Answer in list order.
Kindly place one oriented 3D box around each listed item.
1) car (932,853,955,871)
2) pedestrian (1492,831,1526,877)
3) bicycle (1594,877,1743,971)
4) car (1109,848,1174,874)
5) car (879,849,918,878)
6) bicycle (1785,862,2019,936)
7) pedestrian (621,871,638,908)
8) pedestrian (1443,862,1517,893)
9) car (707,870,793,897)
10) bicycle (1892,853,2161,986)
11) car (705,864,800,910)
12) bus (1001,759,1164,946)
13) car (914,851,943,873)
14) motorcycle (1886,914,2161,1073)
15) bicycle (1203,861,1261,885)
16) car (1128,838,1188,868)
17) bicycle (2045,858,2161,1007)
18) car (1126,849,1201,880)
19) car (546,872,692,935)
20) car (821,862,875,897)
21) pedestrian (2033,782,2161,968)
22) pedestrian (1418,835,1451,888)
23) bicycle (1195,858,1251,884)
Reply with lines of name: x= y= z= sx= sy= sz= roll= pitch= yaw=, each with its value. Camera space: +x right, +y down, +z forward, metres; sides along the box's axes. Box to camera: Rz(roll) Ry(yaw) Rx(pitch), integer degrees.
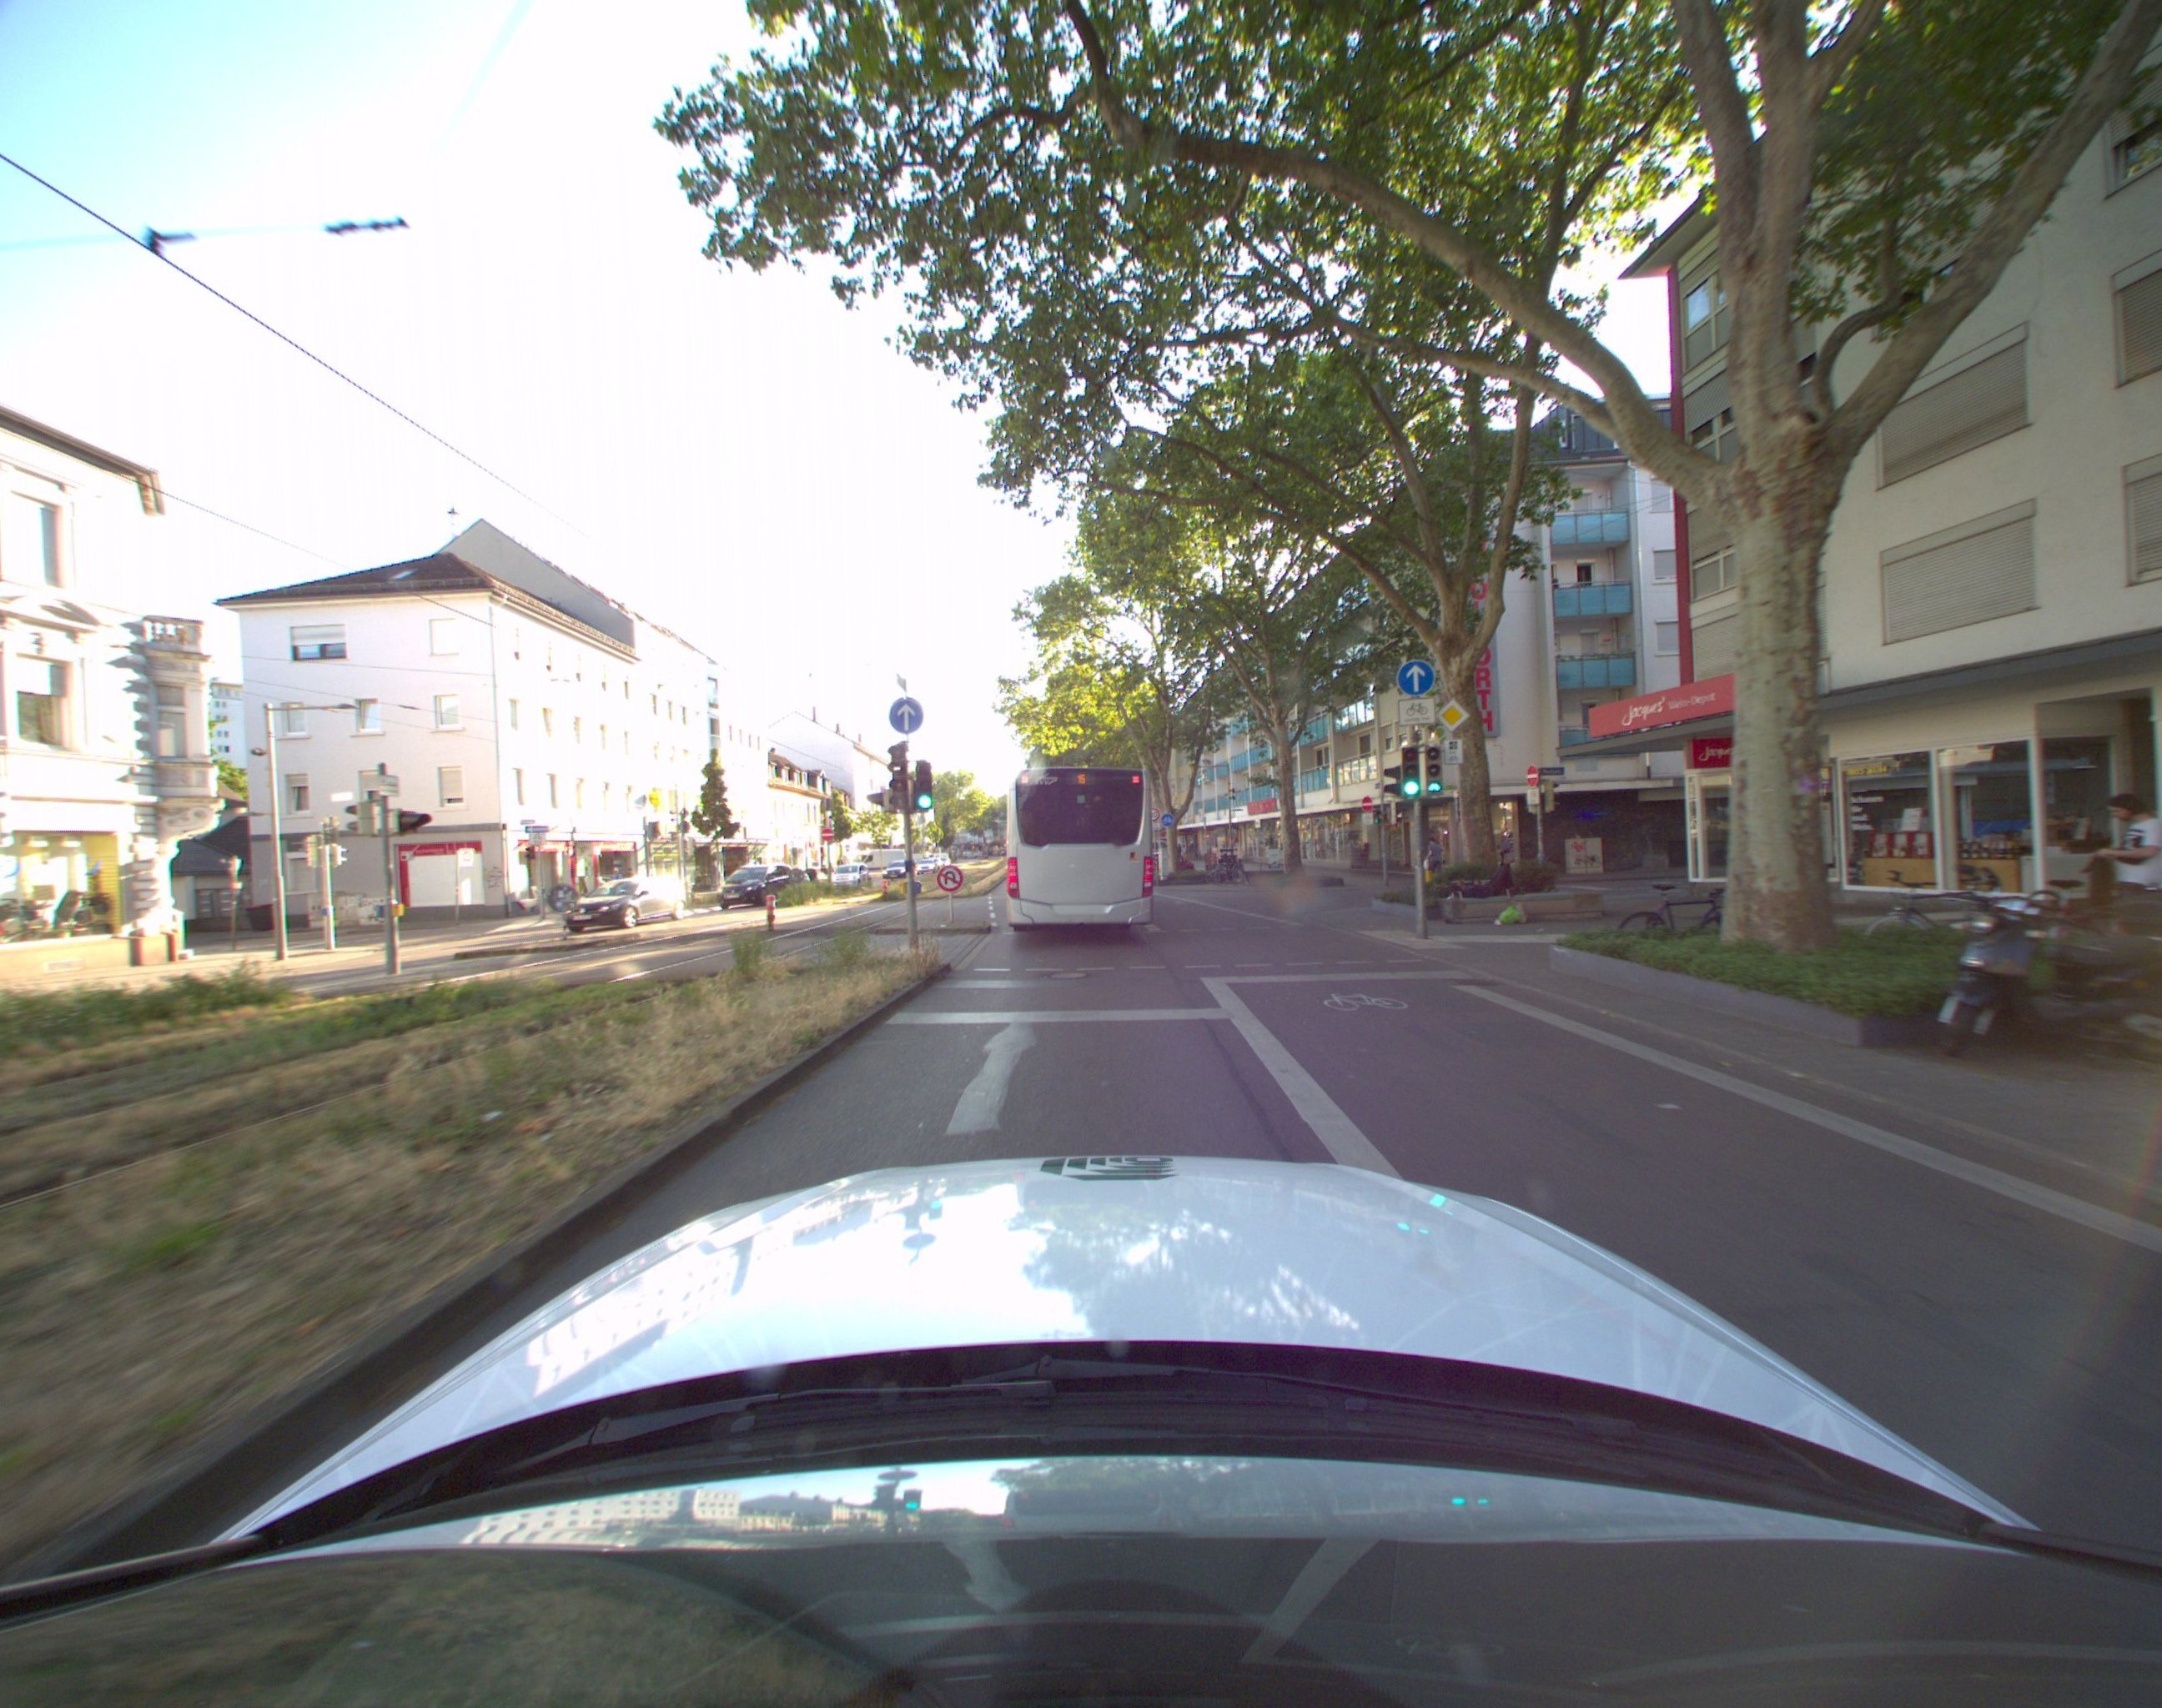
car: x=-15.963 y=0.914 z=94.673 sx=1.988 sy=2.013 sz=3.998 roll=-2 pitch=0 yaw=-1
pedestrian: x=16.057 y=-0.003 z=30.563 sx=0.746 sy=1.679 sz=0.834 roll=-2 pitch=2 yaw=-4
bicycle: x=7.313 y=0.863 z=10.169 sx=1.503 sy=1.105 sz=0.460 roll=1 pitch=0 yaw=2
car: x=3.904 y=0.427 z=52.070 sx=1.975 sy=1.530 sz=4.024 roll=-3 pitch=0 yaw=44
car: x=-13.754 y=0.702 z=61.664 sx=1.988 sy=2.013 sz=3.998 roll=-2 pitch=0 yaw=-1
bicycle: x=9.666 y=0.525 z=9.659 sx=1.864 sy=0.765 sz=0.713 roll=-2 pitch=0 yaw=10
pedestrian: x=-21.554 y=1.677 z=38.886 sx=0.423 sy=1.713 sz=0.509 roll=-2 pitch=-1 yaw=6
pedestrian: x=8.042 y=0.472 z=16.421 sx=1.250 sy=0.589 sz=0.482 roll=-1 pitch=0 yaw=0
car: x=-20.271 y=1.770 z=49.951 sx=4.571 sy=1.412 sz=1.978 roll=-2 pitch=0 yaw=-35
bicycle: x=9.896 y=0.666 z=8.518 sx=1.865 sy=1.189 sz=0.713 roll=-5 pitch=-1 yaw=10
car: x=-13.504 y=1.308 z=33.794 sx=1.772 sy=1.615 sz=4.513 roll=-2 pitch=0 yaw=4
bus: x=-0.061 y=-0.037 z=17.166 sx=2.671 sy=3.083 sz=7.109 roll=-1 pitch=0 yaw=-2
car: x=-14.771 y=0.772 z=78.999 sx=1.988 sy=2.013 sz=3.998 roll=-2 pitch=0 yaw=-1
motorcycle: x=6.450 y=0.904 z=5.457 sx=1.566 sy=0.892 sz=0.544 roll=-3 pitch=-1 yaw=-2
bicycle: x=6.489 y=0.808 z=35.026 sx=2.307 sy=0.939 sz=0.835 roll=-2 pitch=1 yaw=-7
car: x=5.653 y=-0.084 z=59.618 sx=4.020 sy=1.969 sz=1.977 roll=-2 pitch=0 yaw=-39
bicycle: x=10.129 y=0.660 z=7.501 sx=1.783 sy=1.189 sz=0.671 roll=-5 pitch=-1 yaw=-7
car: x=4.575 y=0.563 z=44.734 sx=1.975 sy=1.530 sz=4.024 roll=-3 pitch=0 yaw=44
car: x=-13.737 y=1.418 z=24.530 sx=1.773 sy=1.450 sz=4.049 roll=-4 pitch=1 yaw=4
car: x=-13.286 y=1.422 z=46.668 sx=1.892 sy=1.804 sz=3.998 roll=-2 pitch=0 yaw=-1
pedestrian: x=11.004 y=0.208 z=8.730 sx=0.645 sy=1.876 sz=0.818 roll=-2 pitch=-1 yaw=-21
pedestrian: x=12.470 y=0.265 z=28.747 sx=0.777 sy=1.794 sz=0.764 roll=-2 pitch=-1 yaw=2
bicycle: x=6.303 y=0.767 z=36.246 sx=2.307 sy=1.028 sz=0.835 roll=-2 pitch=1 yaw=-7
